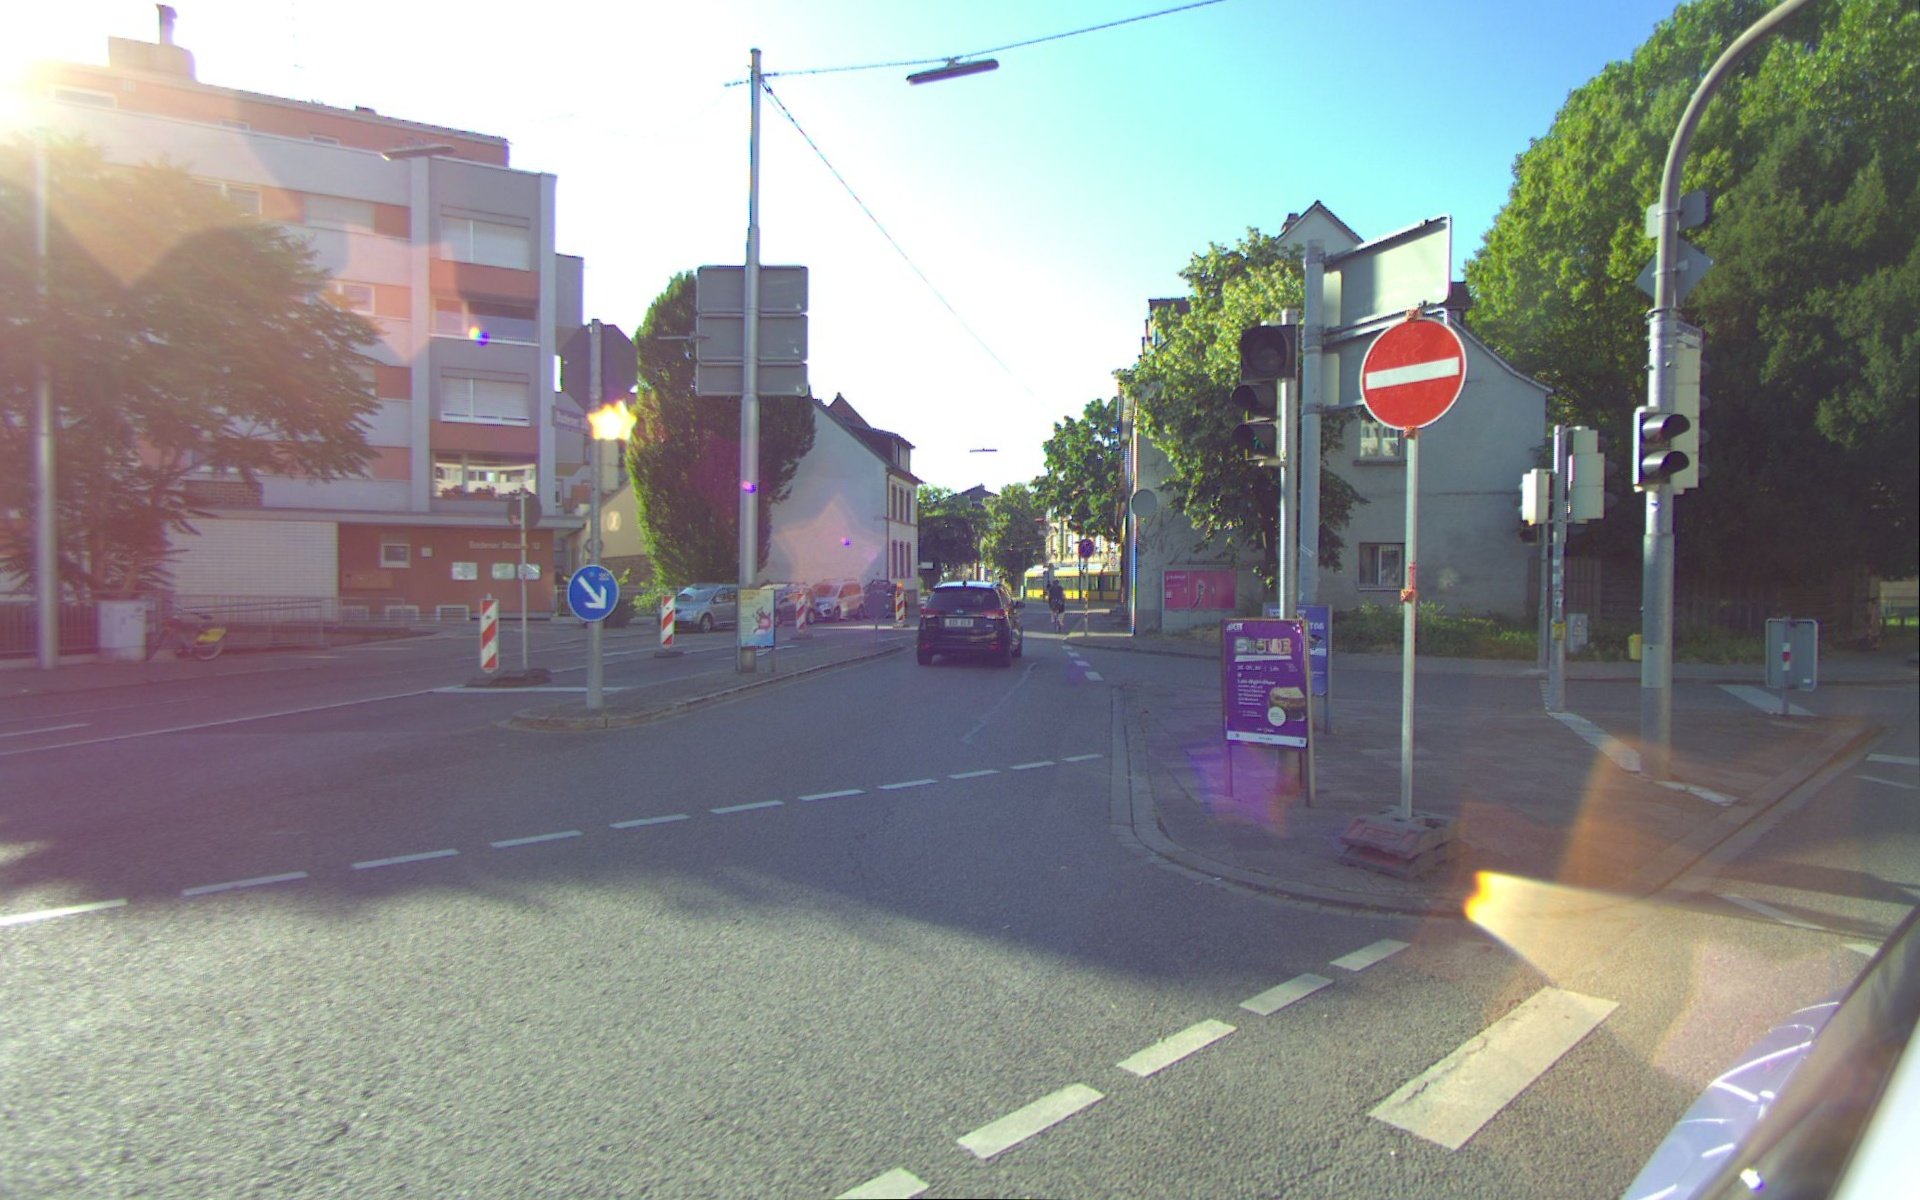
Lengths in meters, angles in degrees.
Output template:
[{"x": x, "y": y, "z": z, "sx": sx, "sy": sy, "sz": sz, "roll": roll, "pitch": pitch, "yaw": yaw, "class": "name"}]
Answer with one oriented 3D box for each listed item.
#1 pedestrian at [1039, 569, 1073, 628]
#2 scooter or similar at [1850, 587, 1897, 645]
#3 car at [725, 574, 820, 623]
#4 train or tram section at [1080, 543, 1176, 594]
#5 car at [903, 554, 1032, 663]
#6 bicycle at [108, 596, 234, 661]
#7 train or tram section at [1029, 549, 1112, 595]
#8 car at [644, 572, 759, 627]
[{"x": 3.140, "y": -0.049, "z": 33.118, "sx": 0.943, "sy": 1.861, "sz": 1.284, "roll": 0, "pitch": 0, "yaw": 14, "class": "pedestrian"}, {"x": 20.036, "y": 0.344, "z": 22.189, "sx": 1.235, "sy": 1.216, "sz": 0.439, "roll": 0, "pitch": 3, "yaw": -36, "class": "scooter or similar"}, {"x": -7.363, "y": -0.059, "z": 40.256, "sx": 1.974, "sy": 1.803, "sz": 4.203, "roll": 0, "pitch": 0, "yaw": 18, "class": "car"}, {"x": 12.576, "y": -2.256, "z": 76.820, "sx": 2.739, "sy": 3.564, "sz": 9.286, "roll": 0, "pitch": 0, "yaw": -22, "class": "train or tram section"}, {"x": 0.280, "y": 0.122, "z": 20.283, "sx": 1.967, "sy": 1.838, "sz": 4.242, "roll": 3, "pitch": 1, "yaw": 8, "class": "car"}, {"x": -15.431, "y": 0.525, "z": 19.884, "sx": 0.698, "sy": 1.193, "sz": 2.334, "roll": 0, "pitch": 0, "yaw": -1, "class": "bicycle"}, {"x": 9.148, "y": -2.243, "z": 85.564, "sx": 2.789, "sy": 3.647, "sz": 9.885, "roll": 0, "pitch": 0, "yaw": -21, "class": "train or tram section"}, {"x": -8.931, "y": -0.017, "z": 35.354, "sx": 1.974, "sy": 1.803, "sz": 4.203, "roll": 0, "pitch": 0, "yaw": 18, "class": "car"}]
